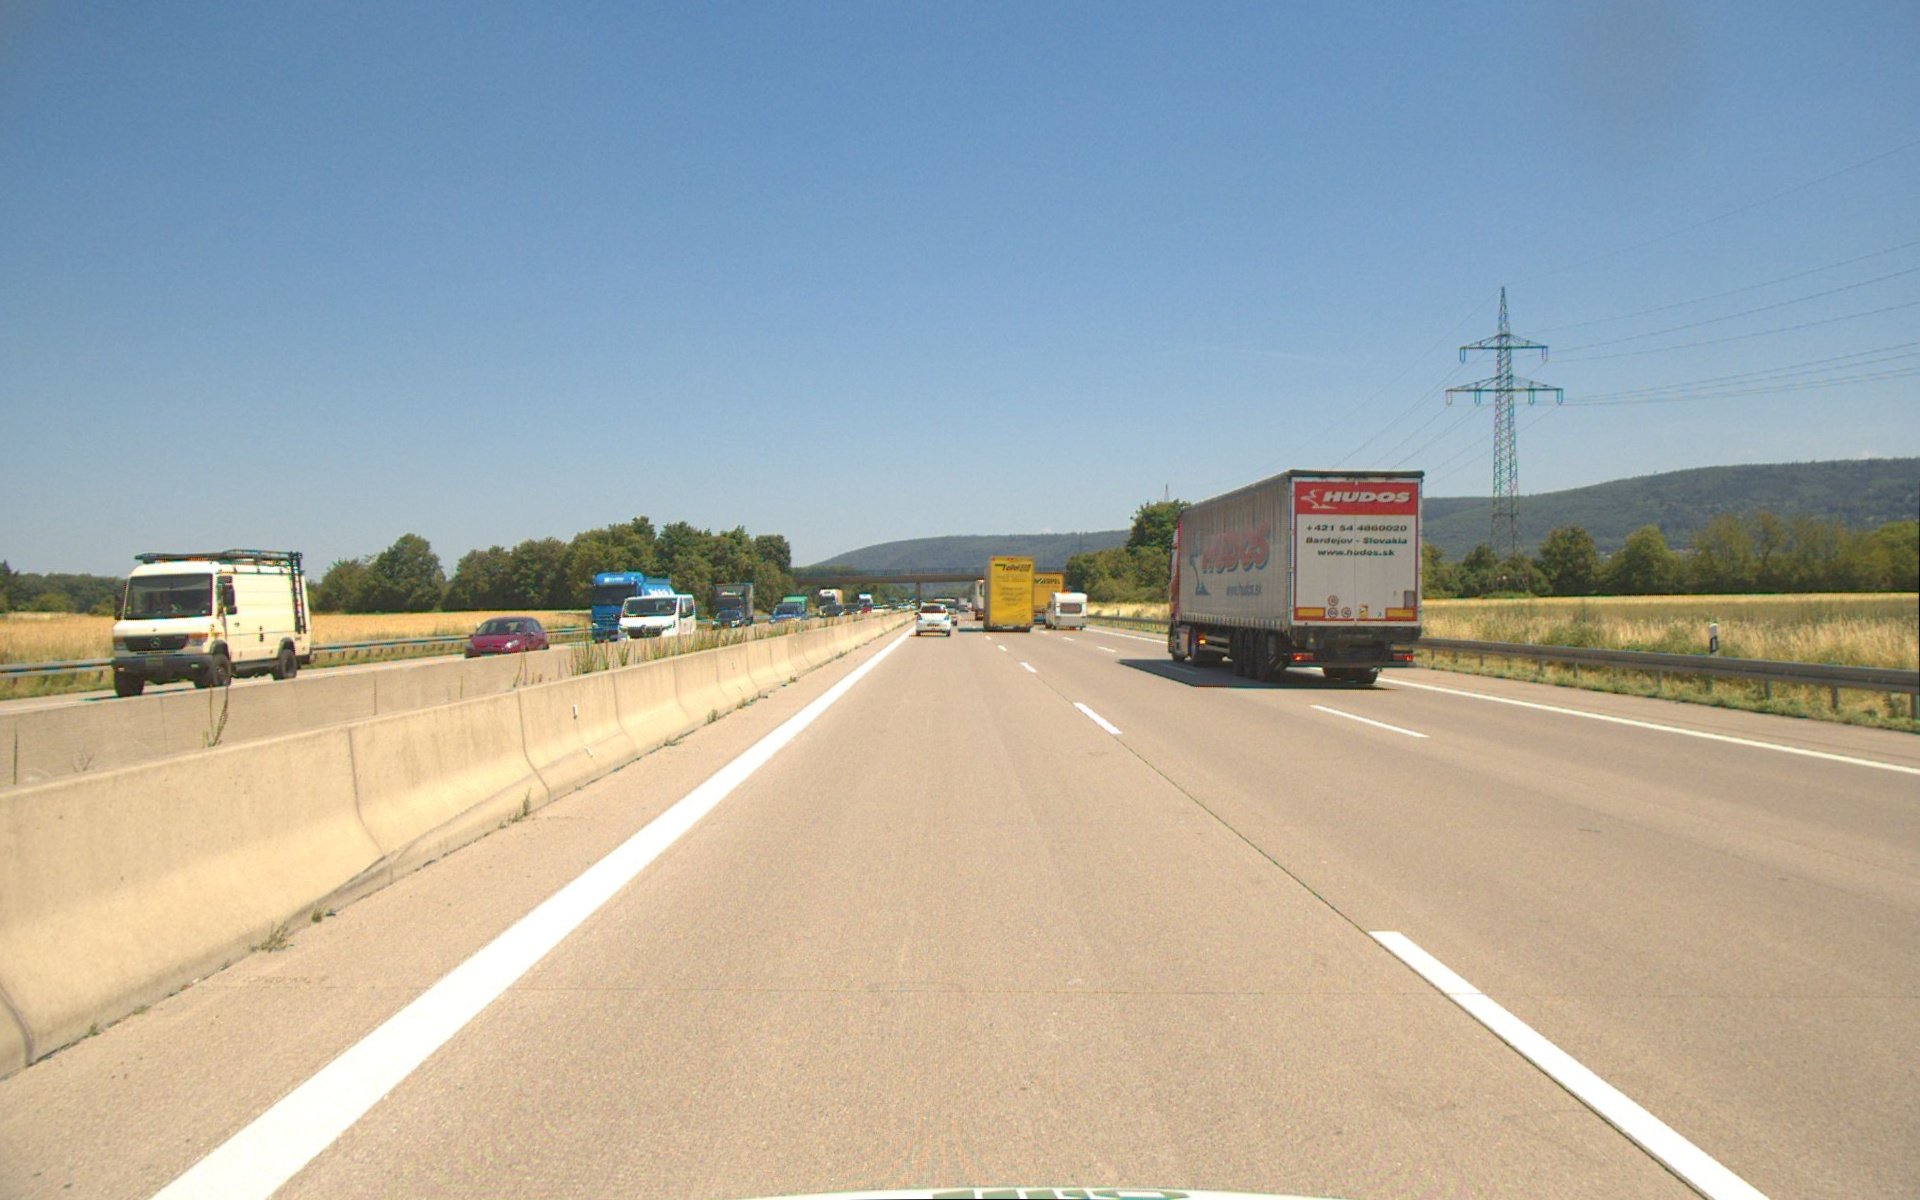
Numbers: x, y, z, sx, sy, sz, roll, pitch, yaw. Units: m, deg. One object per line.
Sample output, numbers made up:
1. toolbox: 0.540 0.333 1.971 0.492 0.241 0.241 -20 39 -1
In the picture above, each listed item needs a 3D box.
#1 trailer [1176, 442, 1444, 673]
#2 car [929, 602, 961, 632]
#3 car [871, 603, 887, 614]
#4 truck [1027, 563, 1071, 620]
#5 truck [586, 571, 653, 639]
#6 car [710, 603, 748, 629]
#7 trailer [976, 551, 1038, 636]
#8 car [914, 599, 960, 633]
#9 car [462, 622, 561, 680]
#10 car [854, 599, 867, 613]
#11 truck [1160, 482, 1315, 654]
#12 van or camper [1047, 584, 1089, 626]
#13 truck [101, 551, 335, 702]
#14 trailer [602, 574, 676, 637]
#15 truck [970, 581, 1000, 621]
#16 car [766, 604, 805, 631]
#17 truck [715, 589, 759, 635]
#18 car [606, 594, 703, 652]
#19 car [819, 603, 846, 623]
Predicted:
1. trailer: 7.306 -0.781 37.071 2.815 4.172 13.509 1 0 -1
2. car: -1.091 1.215 119.424 2.208 2.049 4.297 1 0 0
3. car: -10.985 1.189 223.826 1.953 1.388 4.669 -2 0 -1
4. truck: 7.204 -0.674 135.104 2.938 4.390 9.682 1 0 0
5. truck: -17.609 0.238 85.845 2.433 3.367 5.262 1 0 -1
6. car: -13.844 0.948 99.201 1.684 1.473 4.707 1 0 -1
7. trailer: 2.676 -0.369 98.041 3.150 4.643 13.455 1 0 0
8. car: -1.096 0.765 79.383 2.064 1.563 4.122 1 0 1
9. car: -12.764 1.415 47.322 1.654 1.485 4.486 -1 0 -1
10. car: -15.231 0.933 253.917 1.954 2.049 3.998 -1 0 -3
11. truck: 7.190 -0.785 43.660 2.847 4.172 6.270 1 0 -1
12. van or camper: 6.838 0.329 105.421 2.179 2.575 5.430 1 0 -1
13. truck: -16.850 0.554 38.099 2.275 3.138 6.976 1 0 -1
14. trailer: -17.791 0.282 92.125 2.464 3.330 9.250 1 0 -1
15. truck: 2.423 0.067 163.998 2.762 3.827 6.283 1 0 -1
16. car: -9.551 0.941 90.662 1.743 1.372 4.451 2 0 -2
17. truck: -18.085 0.952 134.504 2.503 3.574 7.883 -1 0 -1
18. car: -9.694 0.689 52.941 2.095 1.708 5.644 -1 0 -1
19. car: -10.441 1.046 135.967 1.901 1.585 4.888 -1 0 -1
